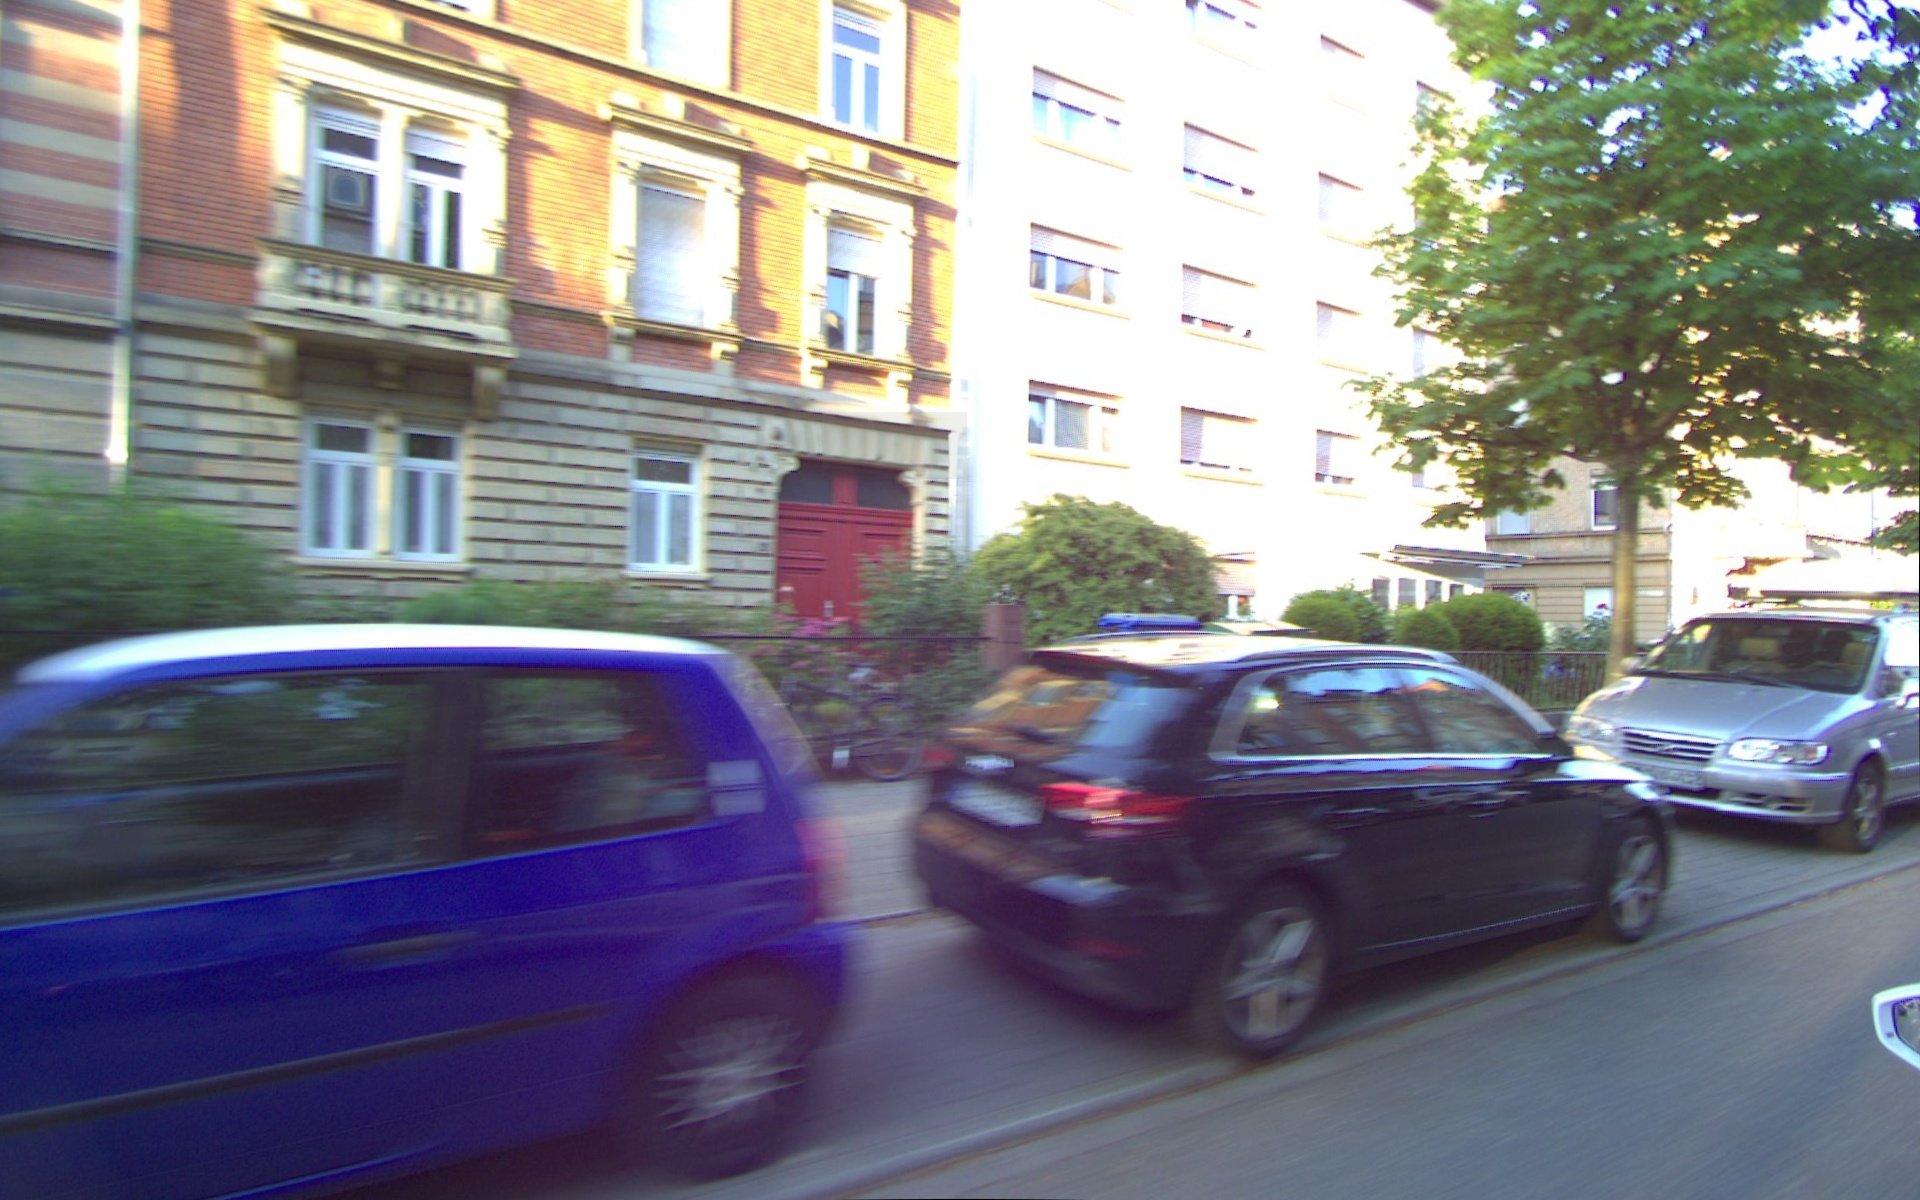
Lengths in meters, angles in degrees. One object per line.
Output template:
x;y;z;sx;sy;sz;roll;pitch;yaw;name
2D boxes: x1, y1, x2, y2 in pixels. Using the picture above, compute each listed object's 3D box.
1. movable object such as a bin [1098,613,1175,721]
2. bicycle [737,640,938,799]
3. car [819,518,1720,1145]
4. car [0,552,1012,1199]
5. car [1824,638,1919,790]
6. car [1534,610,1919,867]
2.383;0.889;13.612;0.695;1.381;0.733;1;1;-24;movable object such as a bin
-0.985;0.943;8.276;1.599;1.201;0.432;2;-1;-31;bicycle
1.605;0.720;4.722;4.166;1.814;1.707;1;-1;-31;car
-1.881;0.720;2.812;3.744;1.587;1.707;1;-1;-31;car
11.226;1.178;10.864;3.940;1.484;1.707;1;-1;-31;car
6.815;0.939;8.227;4.466;1.617;1.707;2;-1;-31;car
